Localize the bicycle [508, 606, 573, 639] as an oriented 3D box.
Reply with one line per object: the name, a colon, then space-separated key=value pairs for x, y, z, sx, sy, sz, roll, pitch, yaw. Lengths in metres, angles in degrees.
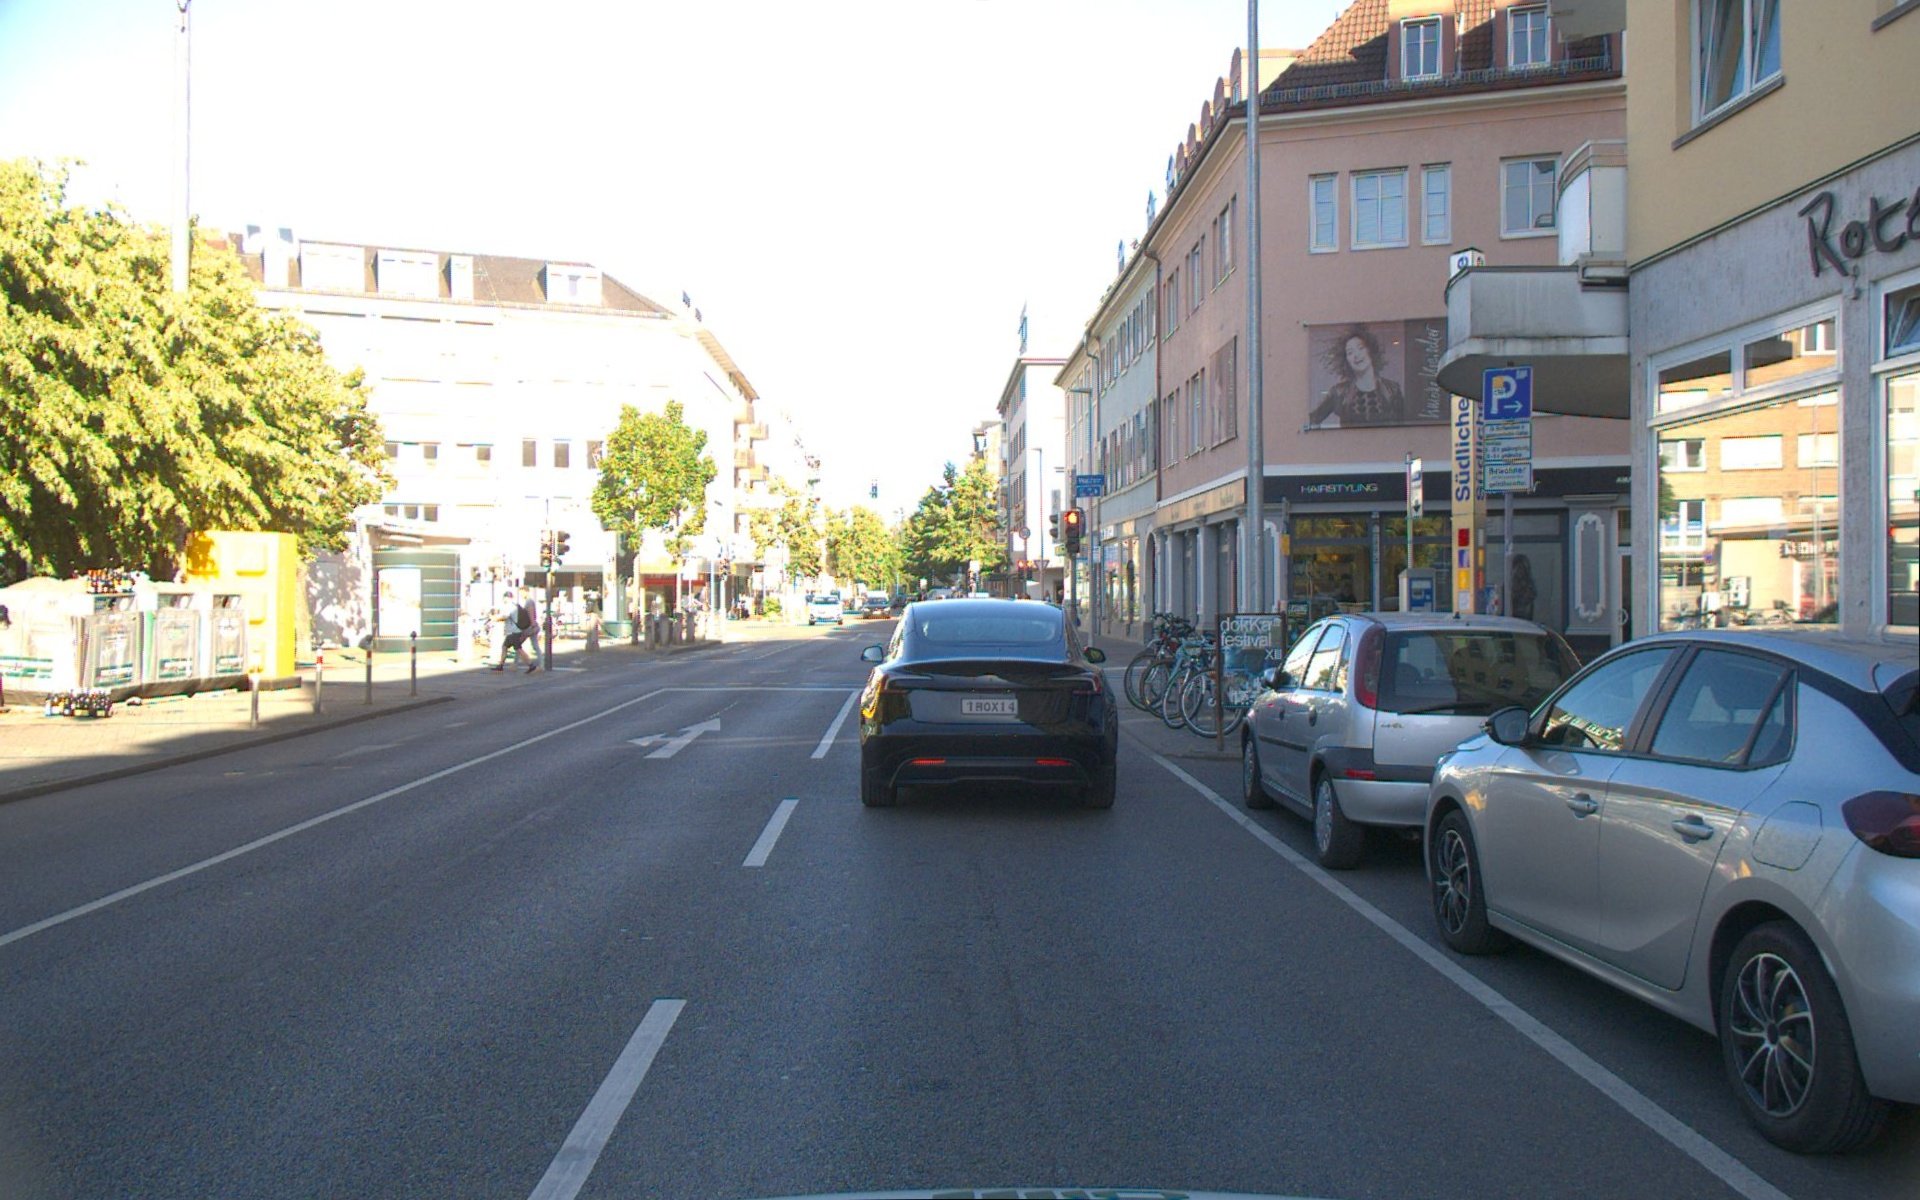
bicycle: x=-14.393 y=0.770 z=56.803 sx=2.040 sy=1.123 sz=0.806 roll=0 pitch=0 yaw=-1

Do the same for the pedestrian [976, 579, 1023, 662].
pedestrian: x=0.715 y=0.366 z=29.995 sx=0.727 sy=1.466 sz=0.583 roll=1 pitch=0 yaw=15

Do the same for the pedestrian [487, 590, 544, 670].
pedestrian: x=-9.327 y=0.624 z=34.712 sx=0.966 sy=1.665 sz=0.737 roll=0 pitch=0 yaw=3

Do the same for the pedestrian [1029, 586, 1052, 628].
pedestrian: x=3.556 y=0.305 z=73.218 sx=0.979 sy=1.883 sz=0.615 roll=0 pitch=0 yaw=-1

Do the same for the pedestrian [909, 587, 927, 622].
pedestrian: x=-2.442 y=0.244 z=96.195 sx=0.742 sy=2.049 sz=0.791 roll=0 pitch=0 yaw=-27

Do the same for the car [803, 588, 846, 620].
car: x=-7.316 y=0.218 z=89.503 sx=1.953 sy=1.567 sz=3.999 roll=-3 pitch=0 yaw=-1

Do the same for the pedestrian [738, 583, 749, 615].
pedestrian: x=-13.712 y=-0.058 z=104.835 sx=0.613 sy=2.049 sz=0.575 roll=0 pitch=0 yaw=-1

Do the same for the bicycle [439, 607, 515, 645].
bicycle: x=-14.439 y=0.775 z=49.508 sx=2.040 sy=1.123 sz=0.806 roll=0 pitch=0 yaw=-1

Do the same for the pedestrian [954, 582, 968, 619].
pedestrian: x=0.046 y=0.031 z=93.160 sx=0.614 sy=2.049 sz=0.559 roll=0 pitch=0 yaw=24

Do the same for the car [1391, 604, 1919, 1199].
car: x=3.011 y=0.756 z=5.946 sx=1.637 sy=1.452 sz=4.074 roll=0 pitch=0 yaw=-4

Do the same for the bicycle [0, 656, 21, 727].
bicycle: x=-11.535 y=1.030 z=18.796 sx=1.442 sy=0.782 sz=0.475 roll=1 pitch=0 yaw=2

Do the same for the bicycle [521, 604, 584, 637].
bicycle: x=-14.529 y=0.725 z=58.995 sx=2.040 sy=1.123 sz=0.806 roll=0 pitch=0 yaw=-1

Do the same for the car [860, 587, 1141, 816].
car: x=0.268 y=0.652 z=12.618 sx=1.812 sy=1.480 sz=3.786 roll=0 pitch=0 yaw=0

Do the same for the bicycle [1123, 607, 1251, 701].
bicycle: x=2.982 y=0.707 z=21.797 sx=1.594 sy=1.180 sz=0.433 roll=-2 pitch=0 yaw=0

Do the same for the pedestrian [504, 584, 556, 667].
pedestrian: x=-9.211 y=0.539 z=35.470 sx=0.882 sy=1.755 sz=0.744 roll=0 pitch=0 yaw=3

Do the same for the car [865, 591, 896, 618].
car: x=-5.295 y=0.278 z=109.637 sx=2.009 sy=1.757 sz=4.651 roll=0 pitch=0 yaw=-3

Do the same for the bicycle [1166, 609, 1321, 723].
bicycle: x=3.112 y=0.718 z=18.219 sx=1.595 sy=1.180 sz=0.432 roll=-2 pitch=0 yaw=-2

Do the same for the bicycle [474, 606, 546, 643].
bicycle: x=-14.138 y=0.760 z=52.032 sx=2.040 sy=1.123 sz=0.806 roll=0 pitch=0 yaw=-1

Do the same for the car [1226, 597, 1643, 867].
car: x=2.830 y=0.695 z=10.714 sx=1.588 sy=1.419 sz=3.886 roll=0 pitch=0 yaw=0

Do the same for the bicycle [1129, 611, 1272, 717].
bicycle: x=2.837 y=0.749 z=19.564 sx=1.595 sy=1.180 sz=0.432 roll=-2 pitch=0 yaw=-2

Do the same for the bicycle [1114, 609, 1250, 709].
bicycle: x=2.761 y=0.725 z=20.620 sx=1.595 sy=1.180 sz=0.432 roll=-2 pitch=0 yaw=-2

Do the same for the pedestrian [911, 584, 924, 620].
pedestrian: x=-2.400 y=0.121 z=93.592 sx=0.613 sy=2.049 sz=0.559 roll=0 pitch=0 yaw=19

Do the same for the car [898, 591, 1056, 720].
car: x=0.197 y=0.634 z=20.939 sx=1.812 sy=1.480 sz=3.786 roll=0 pitch=0 yaw=0

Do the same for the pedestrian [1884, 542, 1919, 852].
pedestrian: x=5.443 y=0.511 z=8.800 sx=0.648 sy=1.661 sz=0.628 roll=-2 pitch=-1 yaw=3
